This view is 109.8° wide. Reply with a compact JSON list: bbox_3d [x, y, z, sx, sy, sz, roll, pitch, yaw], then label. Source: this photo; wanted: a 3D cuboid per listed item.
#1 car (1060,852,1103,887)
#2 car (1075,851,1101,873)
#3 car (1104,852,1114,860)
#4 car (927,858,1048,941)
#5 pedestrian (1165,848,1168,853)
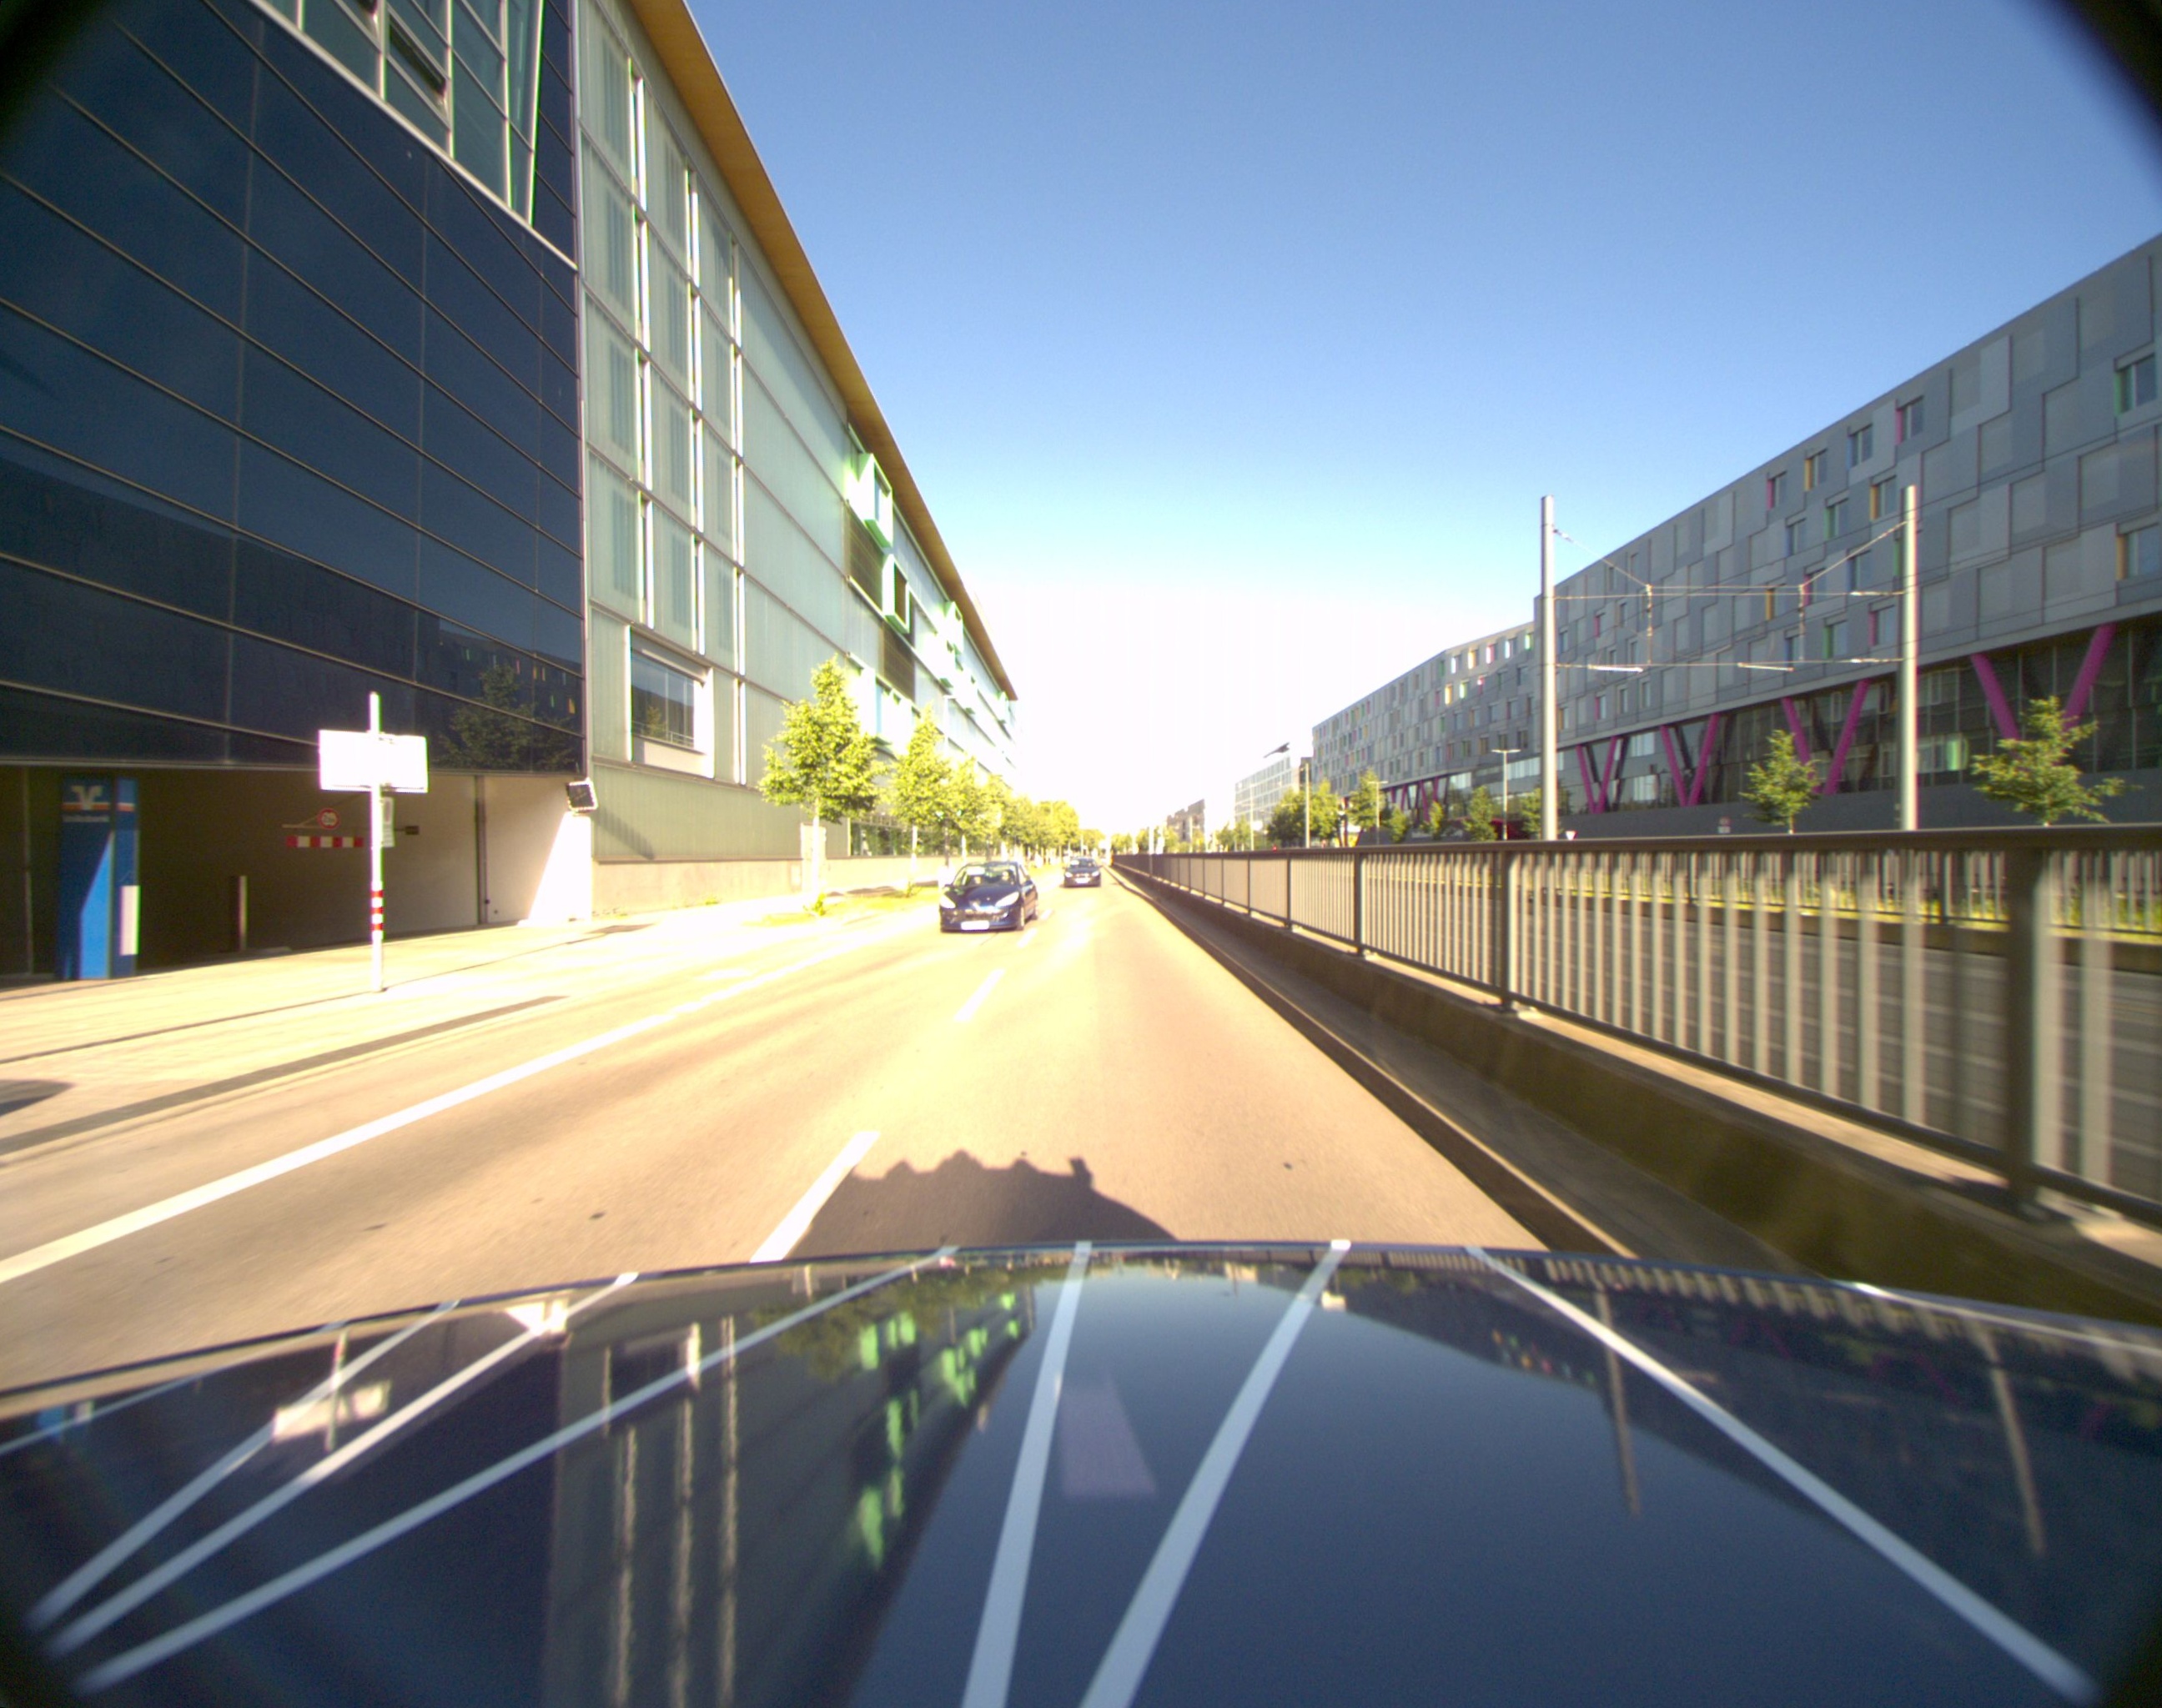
[{"bbox_3d":[0.074,0.709,37.450,1.803,1.518,4.606,-2,0,3],"label":"car"},{"bbox_3d":[0.598,0.605,60.364,1.803,1.518,4.606,-2,0,3],"label":"car"},{"bbox_3d":[6.433,0.465,174.710,1.998,1.543,4.000,-4,0,1],"label":"car"},{"bbox_3d":[-1.960,0.917,17.379,1.802,1.518,4.606,-2,0,5],"label":"car"},{"bbox_3d":[25.785,-1.189,228.939,1.068,1.458,0.844,-2,1,6],"label":"pedestrian"}]
